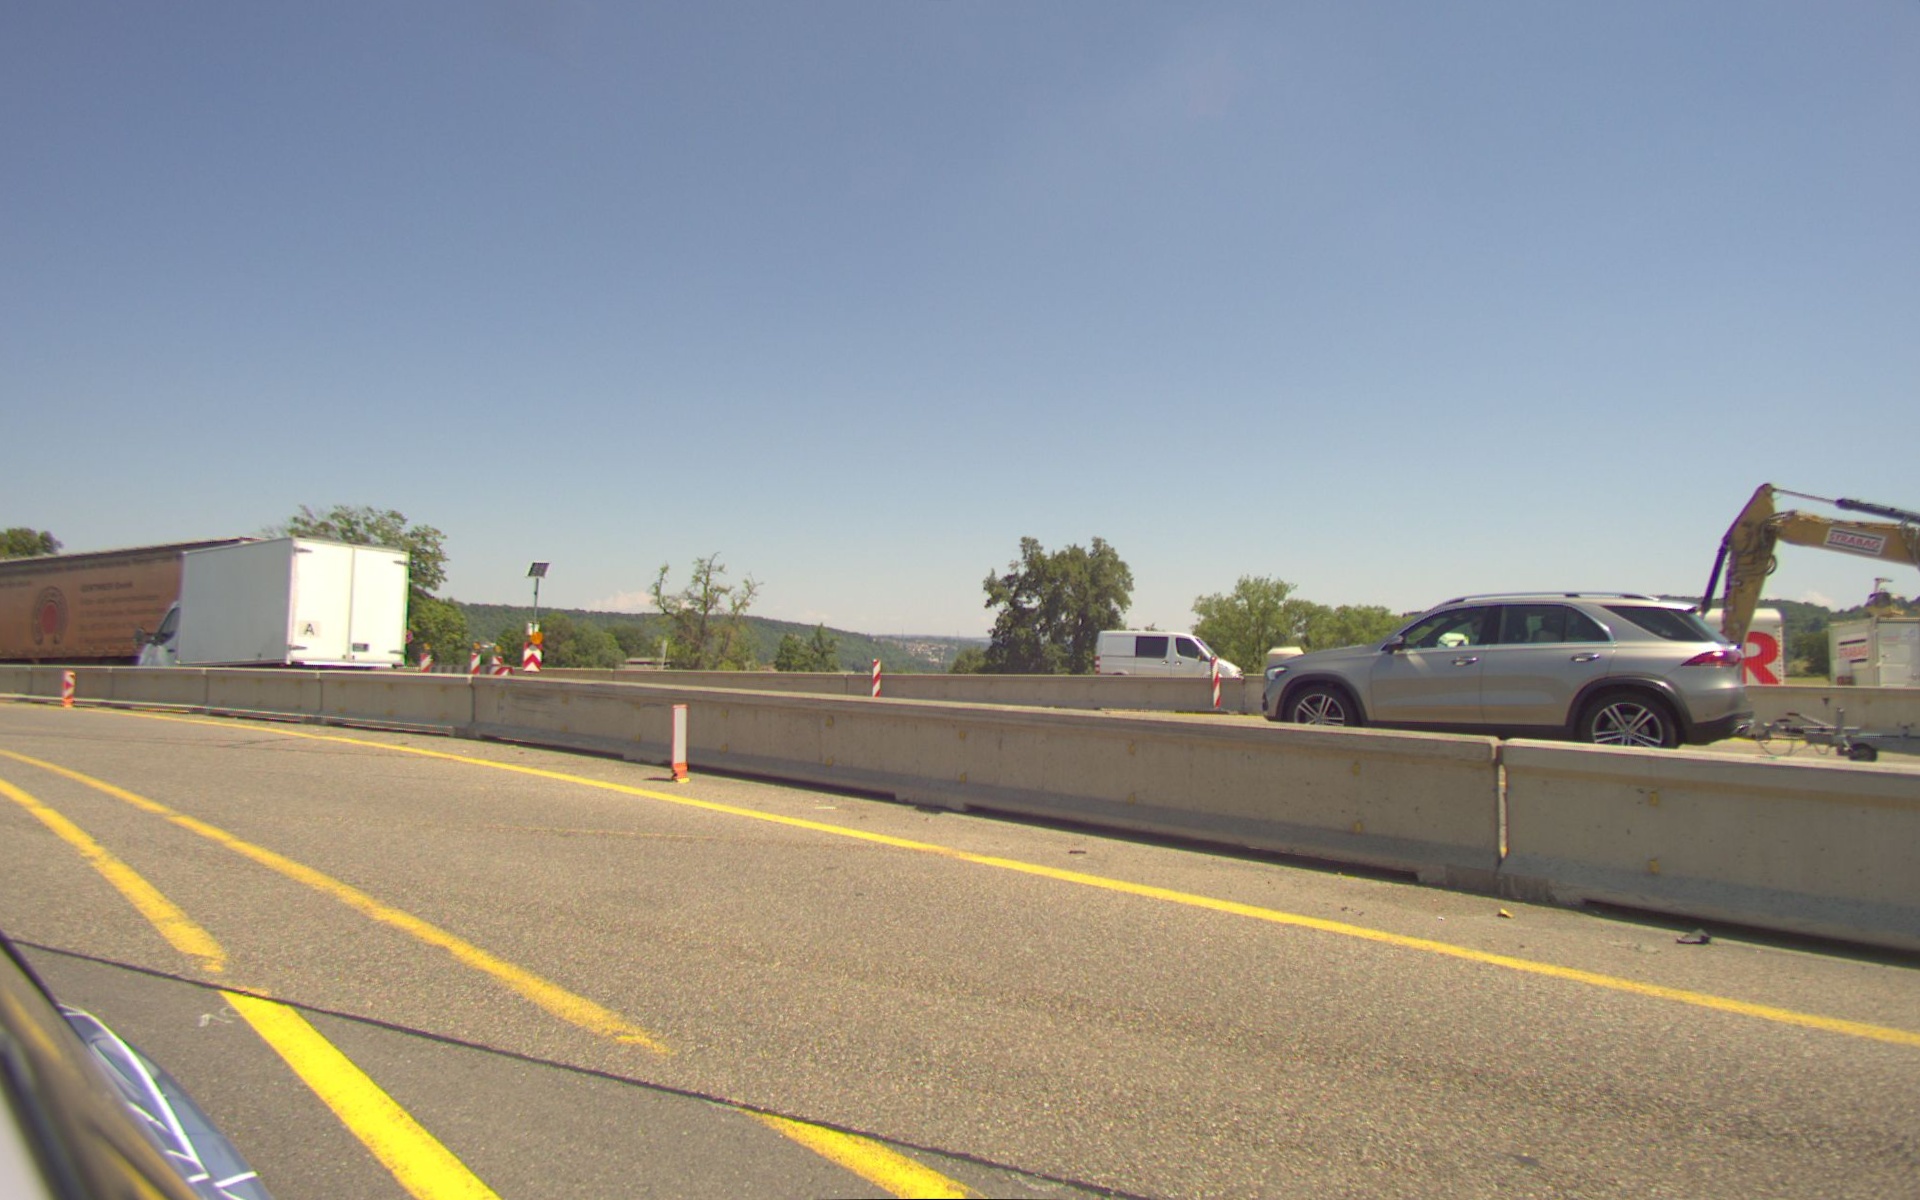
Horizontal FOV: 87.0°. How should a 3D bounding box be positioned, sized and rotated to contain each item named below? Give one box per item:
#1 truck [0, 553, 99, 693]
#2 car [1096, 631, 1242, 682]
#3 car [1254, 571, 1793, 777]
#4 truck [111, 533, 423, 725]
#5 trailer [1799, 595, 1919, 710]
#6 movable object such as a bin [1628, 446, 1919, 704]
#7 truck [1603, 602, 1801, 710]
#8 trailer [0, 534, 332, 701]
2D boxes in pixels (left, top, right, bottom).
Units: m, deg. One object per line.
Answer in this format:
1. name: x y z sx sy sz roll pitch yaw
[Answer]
1. truck: -30.139 0.772 31.813 5.512 4.112 2.531 -1 -3 24
2. car: 7.392 1.995 35.878 4.850 1.726 1.713 -1 -3 22
3. car: 5.977 0.780 11.227 4.899 1.820 1.848 -2 -5 38
4. truck: -14.382 0.645 20.874 6.900 3.407 2.561 -2 -3 30
5. trailer: 27.071 1.477 29.050 2.863 3.020 5.541 -1 -3 21
6. movable object such as a bin: 17.602 -0.414 17.735 2.890 4.363 9.332 2 -3 -44
7. truck: 22.210 1.667 30.561 4.235 3.067 2.331 -1 -3 22
8. trailer: -23.703 0.611 29.078 12.978 4.184 2.575 -1 -3 23
